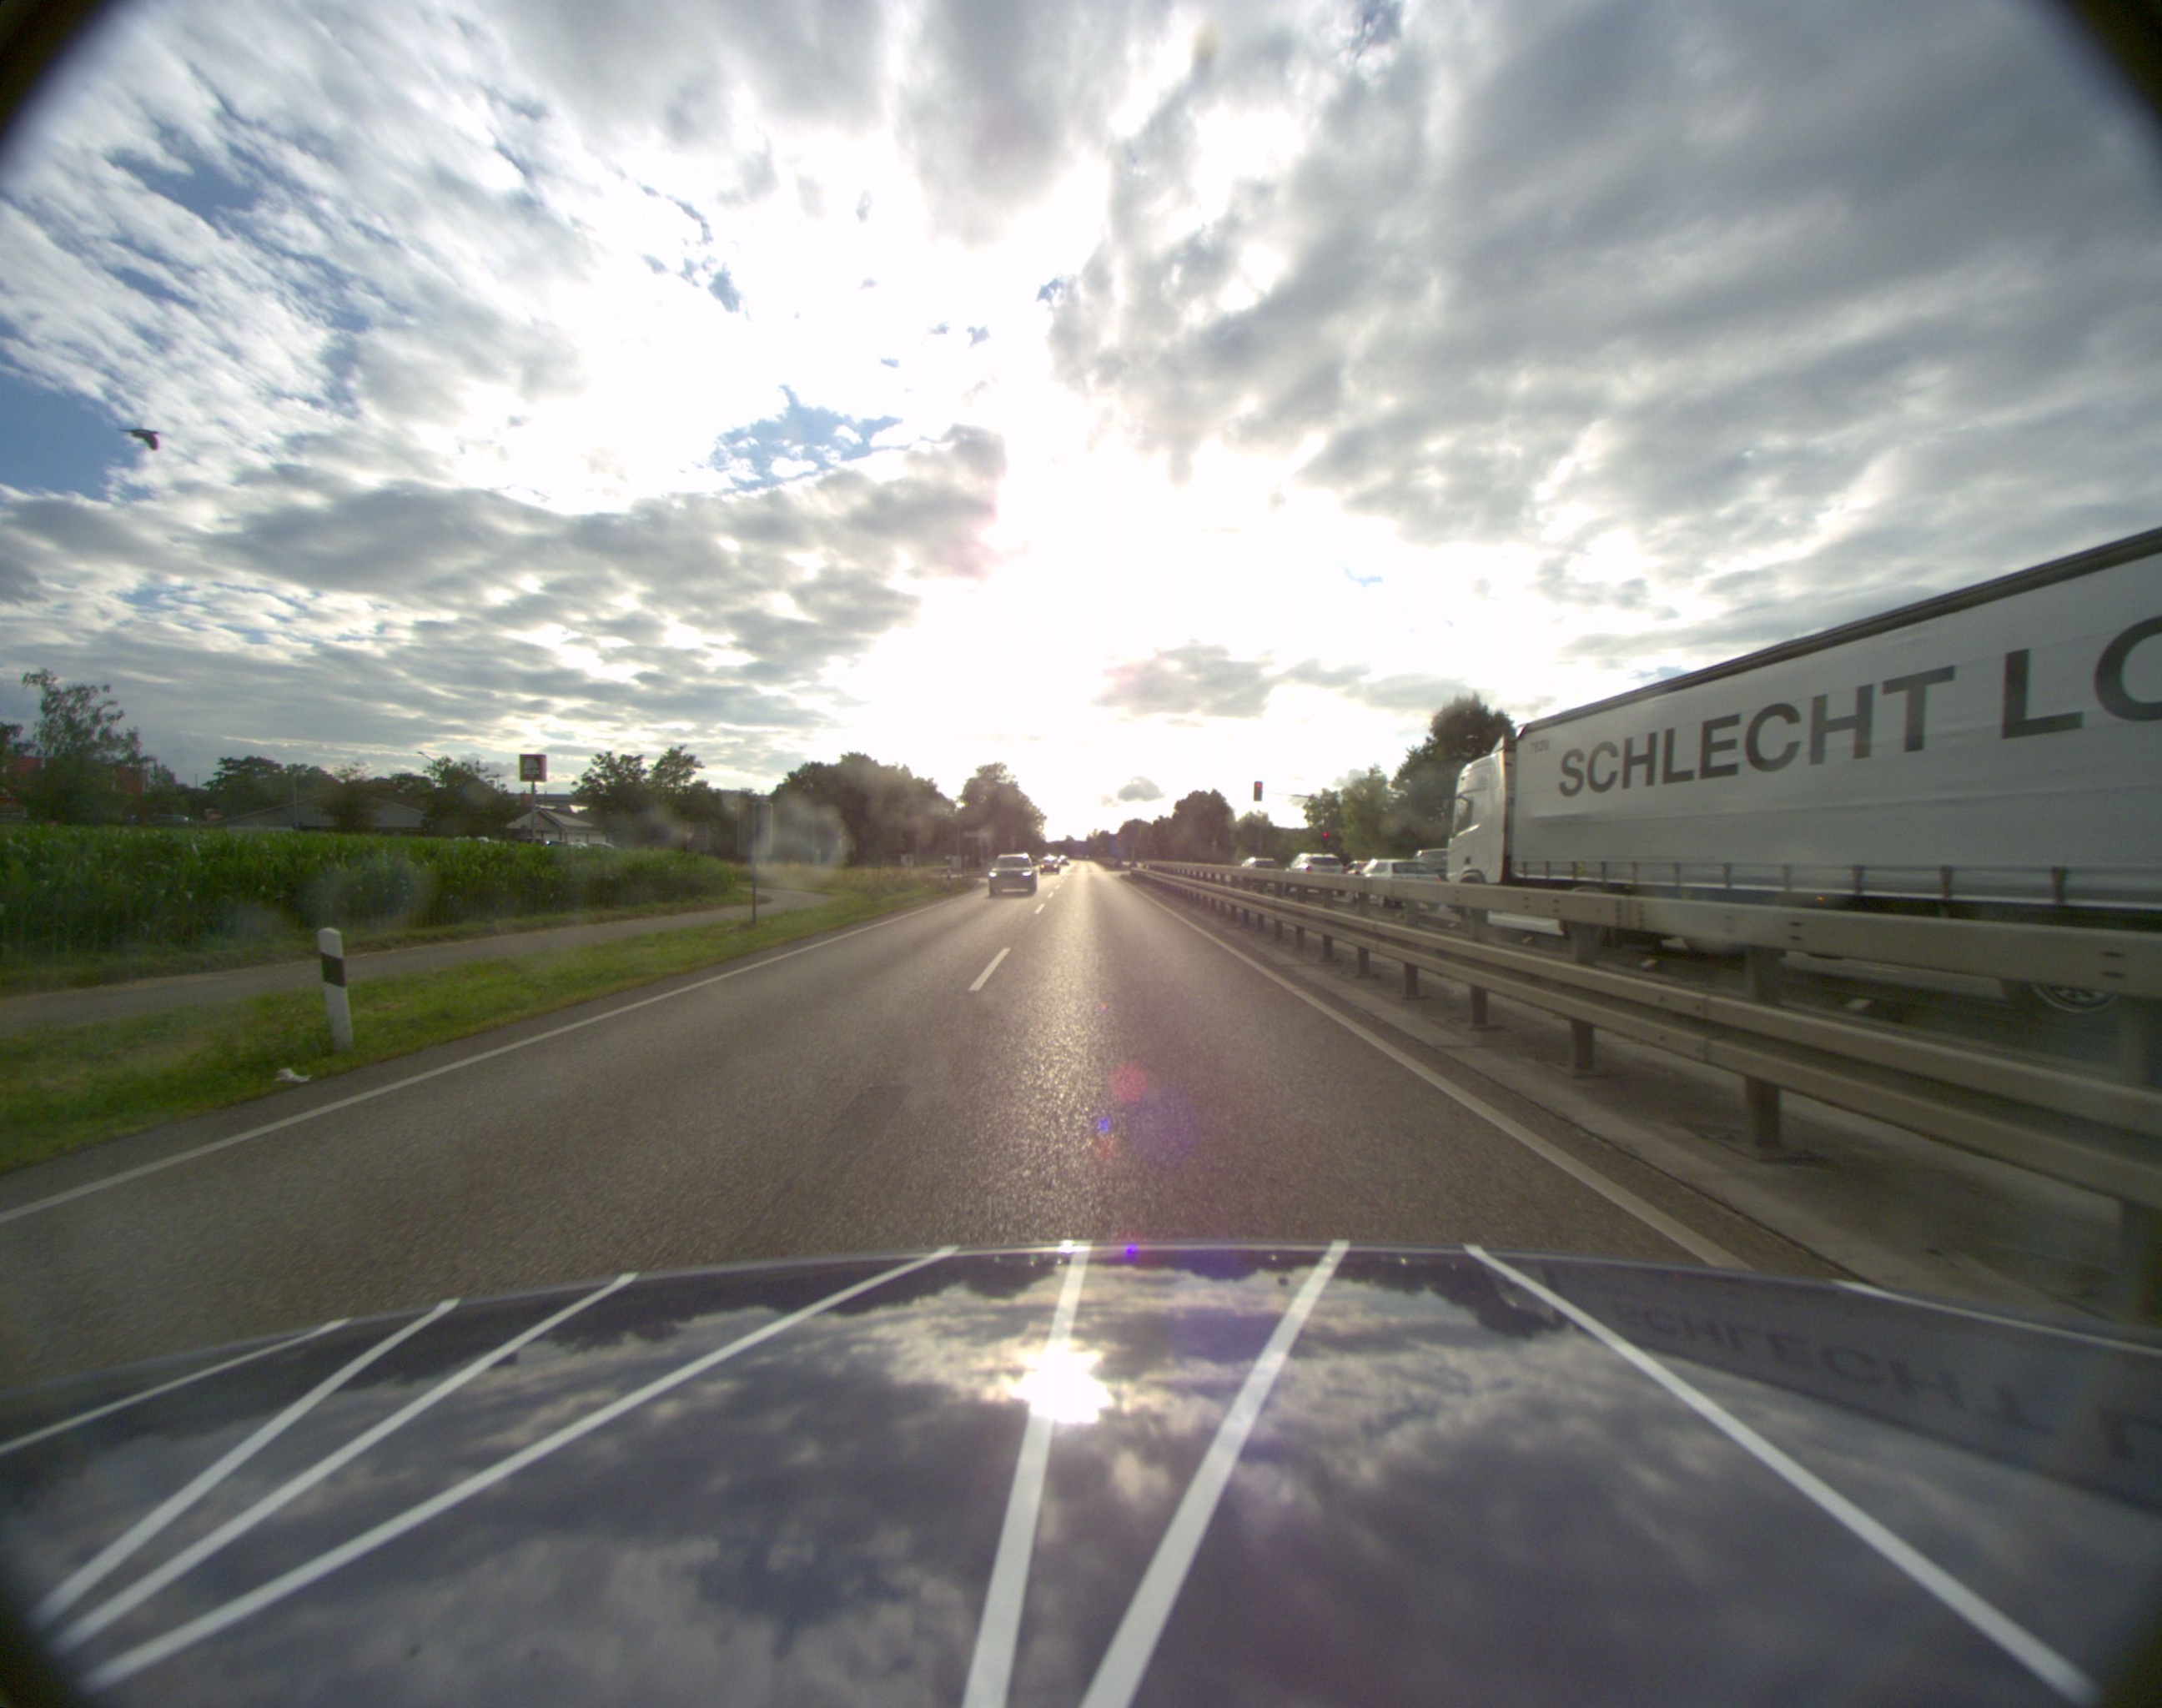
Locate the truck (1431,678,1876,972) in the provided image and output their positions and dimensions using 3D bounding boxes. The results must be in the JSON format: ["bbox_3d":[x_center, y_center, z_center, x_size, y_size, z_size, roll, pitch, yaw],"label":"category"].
[{"bbox_3d":[9.625,-0.428,13.964,3.483,4.126,6.049,2,1,0],"label":"truck"}]

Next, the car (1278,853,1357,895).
[{"bbox_3d":[9.773,0.783,31.768,1.912,1.600,4.404,1,0,0],"label":"car"}]

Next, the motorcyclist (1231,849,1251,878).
[{"bbox_3d":[9.708,0.588,46.240,0.918,1.699,1.276,1,1,1],"label":"motorcyclist"}]

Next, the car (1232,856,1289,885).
[{"bbox_3d":[9.652,0.839,41.294,1.912,1.420,5.152,1,0,0],"label":"car"}]

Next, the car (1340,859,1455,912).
[{"bbox_3d":[9.619,0.909,23.454,1.793,1.436,4.160,1,0,0],"label":"car"}]

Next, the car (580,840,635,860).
[{"bbox_3d":[-48.767,-0.452,78.344,4.303,1.873,1.960,2,1,-3],"label":"car"}]

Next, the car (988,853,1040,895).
[{"bbox_3d":[-2.831,0.825,33.049,1.849,1.640,4.480,-2,0,0],"label":"car"}]

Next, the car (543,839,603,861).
[{"bbox_3d":[-48.754,-0.385,72.971,4.303,1.873,1.960,2,1,-3],"label":"car"}]

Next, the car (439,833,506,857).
[{"bbox_3d":[-54.574,-0.802,68.280,2.000,2.002,5.610,1,1,-7],"label":"car"}]

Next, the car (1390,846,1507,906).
[{"bbox_3d":[13.523,0.717,28.352,1.998,2.002,4.946,1,1,1],"label":"car"}]

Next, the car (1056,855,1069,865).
[{"bbox_3d":[-2.906,0.902,121.302,1.998,1.486,4.000,1,0,0],"label":"car"}]

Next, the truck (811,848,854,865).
[{"bbox_3d":[-30.581,0.241,93.574,4.679,1.985,1.819,-1,1,-35],"label":"truck"}]

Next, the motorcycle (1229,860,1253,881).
[{"bbox_3d":[9.710,0.966,46.246,0.918,1.196,2.478,1,1,1],"label":"motorcycle"}]

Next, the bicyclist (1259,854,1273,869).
[{"bbox_3d":[18.276,0.775,74.888,1.225,1.443,0.816,1,1,6],"label":"bicyclist"}]

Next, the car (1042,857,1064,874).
[{"bbox_3d":[-2.451,0.986,67.896,1.666,1.424,3.995,-1,0,2],"label":"car"}]

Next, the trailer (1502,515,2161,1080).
[{"bbox_3d":[9.611,-0.381,7.176,3.474,4.126,13.915,2,0,0],"label":"trailer"}]

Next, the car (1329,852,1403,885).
[{"bbox_3d":[13.355,0.650,35.873,1.912,1.456,4.184,1,0,0],"label":"car"}]

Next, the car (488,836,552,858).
[{"bbox_3d":[-51.083,-0.627,69.286,4.303,1.873,1.960,2,1,-3],"label":"car"}]
